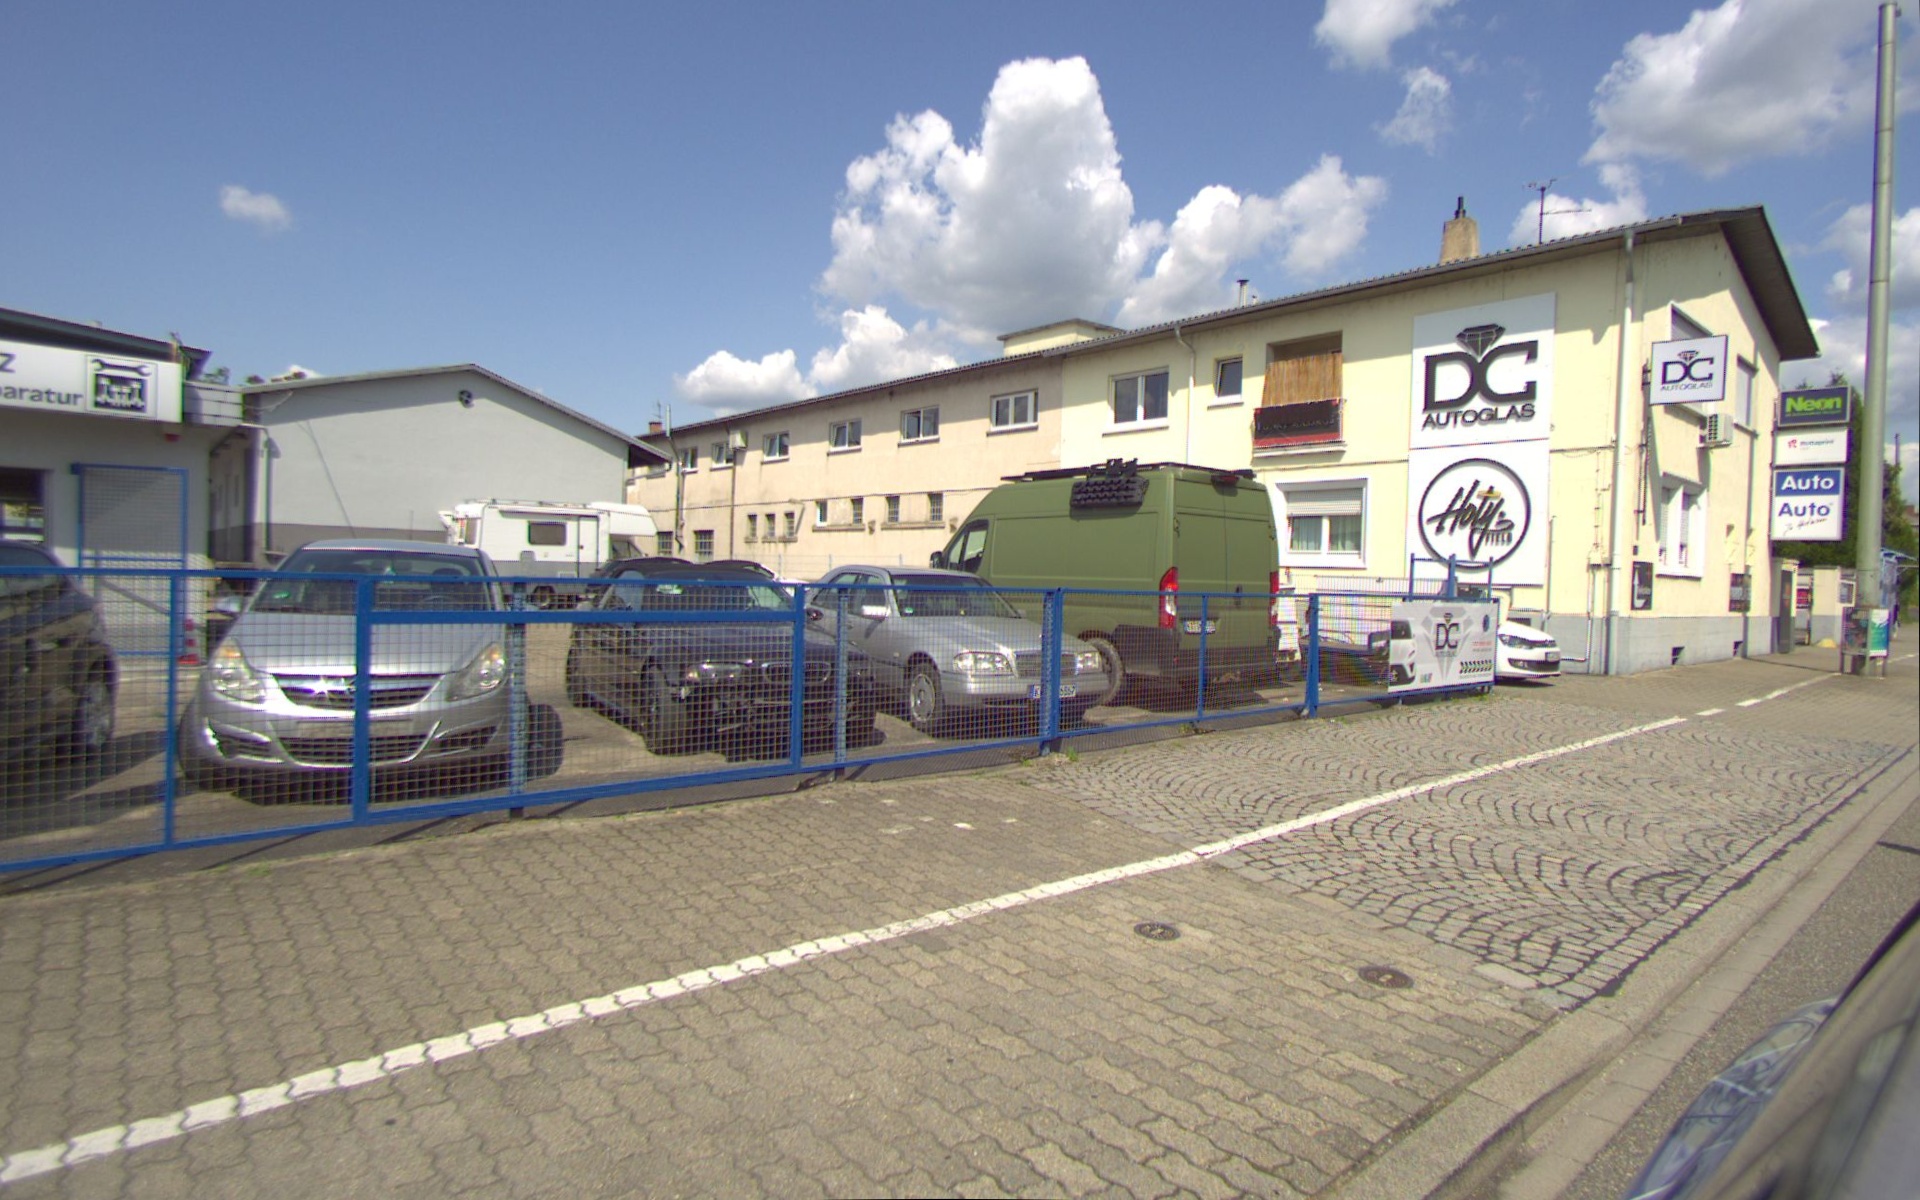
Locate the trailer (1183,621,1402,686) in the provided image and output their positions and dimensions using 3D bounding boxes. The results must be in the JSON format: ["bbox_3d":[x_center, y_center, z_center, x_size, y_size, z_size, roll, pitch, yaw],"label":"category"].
[{"bbox_3d":[4.747,0.731,14.651,1.307,0.674,2.730,0,2,-42],"label":"trailer"}]

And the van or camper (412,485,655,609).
[{"bbox_3d":[-11.307,-1.320,27.110,5.556,3.002,2.272,0,2,-42],"label":"van or camper"}]

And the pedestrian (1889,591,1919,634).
[{"bbox_3d":[40.521,0.542,43.303,1.255,1.773,0.941,1,1,-41],"label":"pedestrian"}]

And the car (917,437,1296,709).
[{"bbox_3d":[1.585,-0.344,12.256,2.075,2.675,4.208,1,2,-39],"label":"car"}]

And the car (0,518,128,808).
[{"bbox_3d":[-5.624,0.309,4.876,1.606,1.470,3.700,1,2,-25],"label":"car"}]

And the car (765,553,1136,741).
[{"bbox_3d":[-0.341,0.292,10.203,1.679,1.470,4.292,1,2,-33],"label":"car"}]

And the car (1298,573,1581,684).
[{"bbox_3d":[7.532,0.368,16.179,1.527,1.481,3.775,1,2,-39],"label":"car"}]

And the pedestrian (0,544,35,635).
[{"bbox_3d":[-13.163,-0.153,13.881,0.652,1.224,0.566,1,1,-39],"label":"pedestrian"}]

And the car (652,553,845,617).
[{"bbox_3d":[-4.847,-0.343,23.548,4.112,1.378,1.645,0,2,-41],"label":"car"}]

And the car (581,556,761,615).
[{"bbox_3d":[-7.310,-0.354,25.810,4.112,1.378,1.645,0,2,-41],"label":"car"}]

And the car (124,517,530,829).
[{"bbox_3d":[-3.900,0.286,6.840,1.736,1.470,3.778,1,2,-24],"label":"car"}]

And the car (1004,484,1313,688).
[{"bbox_3d":[2.615,-0.240,14.223,1.557,2.436,4.208,1,2,-39],"label":"car"}]

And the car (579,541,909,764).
[{"bbox_3d":[-2.130,0.279,8.897,1.737,1.470,4.128,1,2,-28],"label":"car"}]
